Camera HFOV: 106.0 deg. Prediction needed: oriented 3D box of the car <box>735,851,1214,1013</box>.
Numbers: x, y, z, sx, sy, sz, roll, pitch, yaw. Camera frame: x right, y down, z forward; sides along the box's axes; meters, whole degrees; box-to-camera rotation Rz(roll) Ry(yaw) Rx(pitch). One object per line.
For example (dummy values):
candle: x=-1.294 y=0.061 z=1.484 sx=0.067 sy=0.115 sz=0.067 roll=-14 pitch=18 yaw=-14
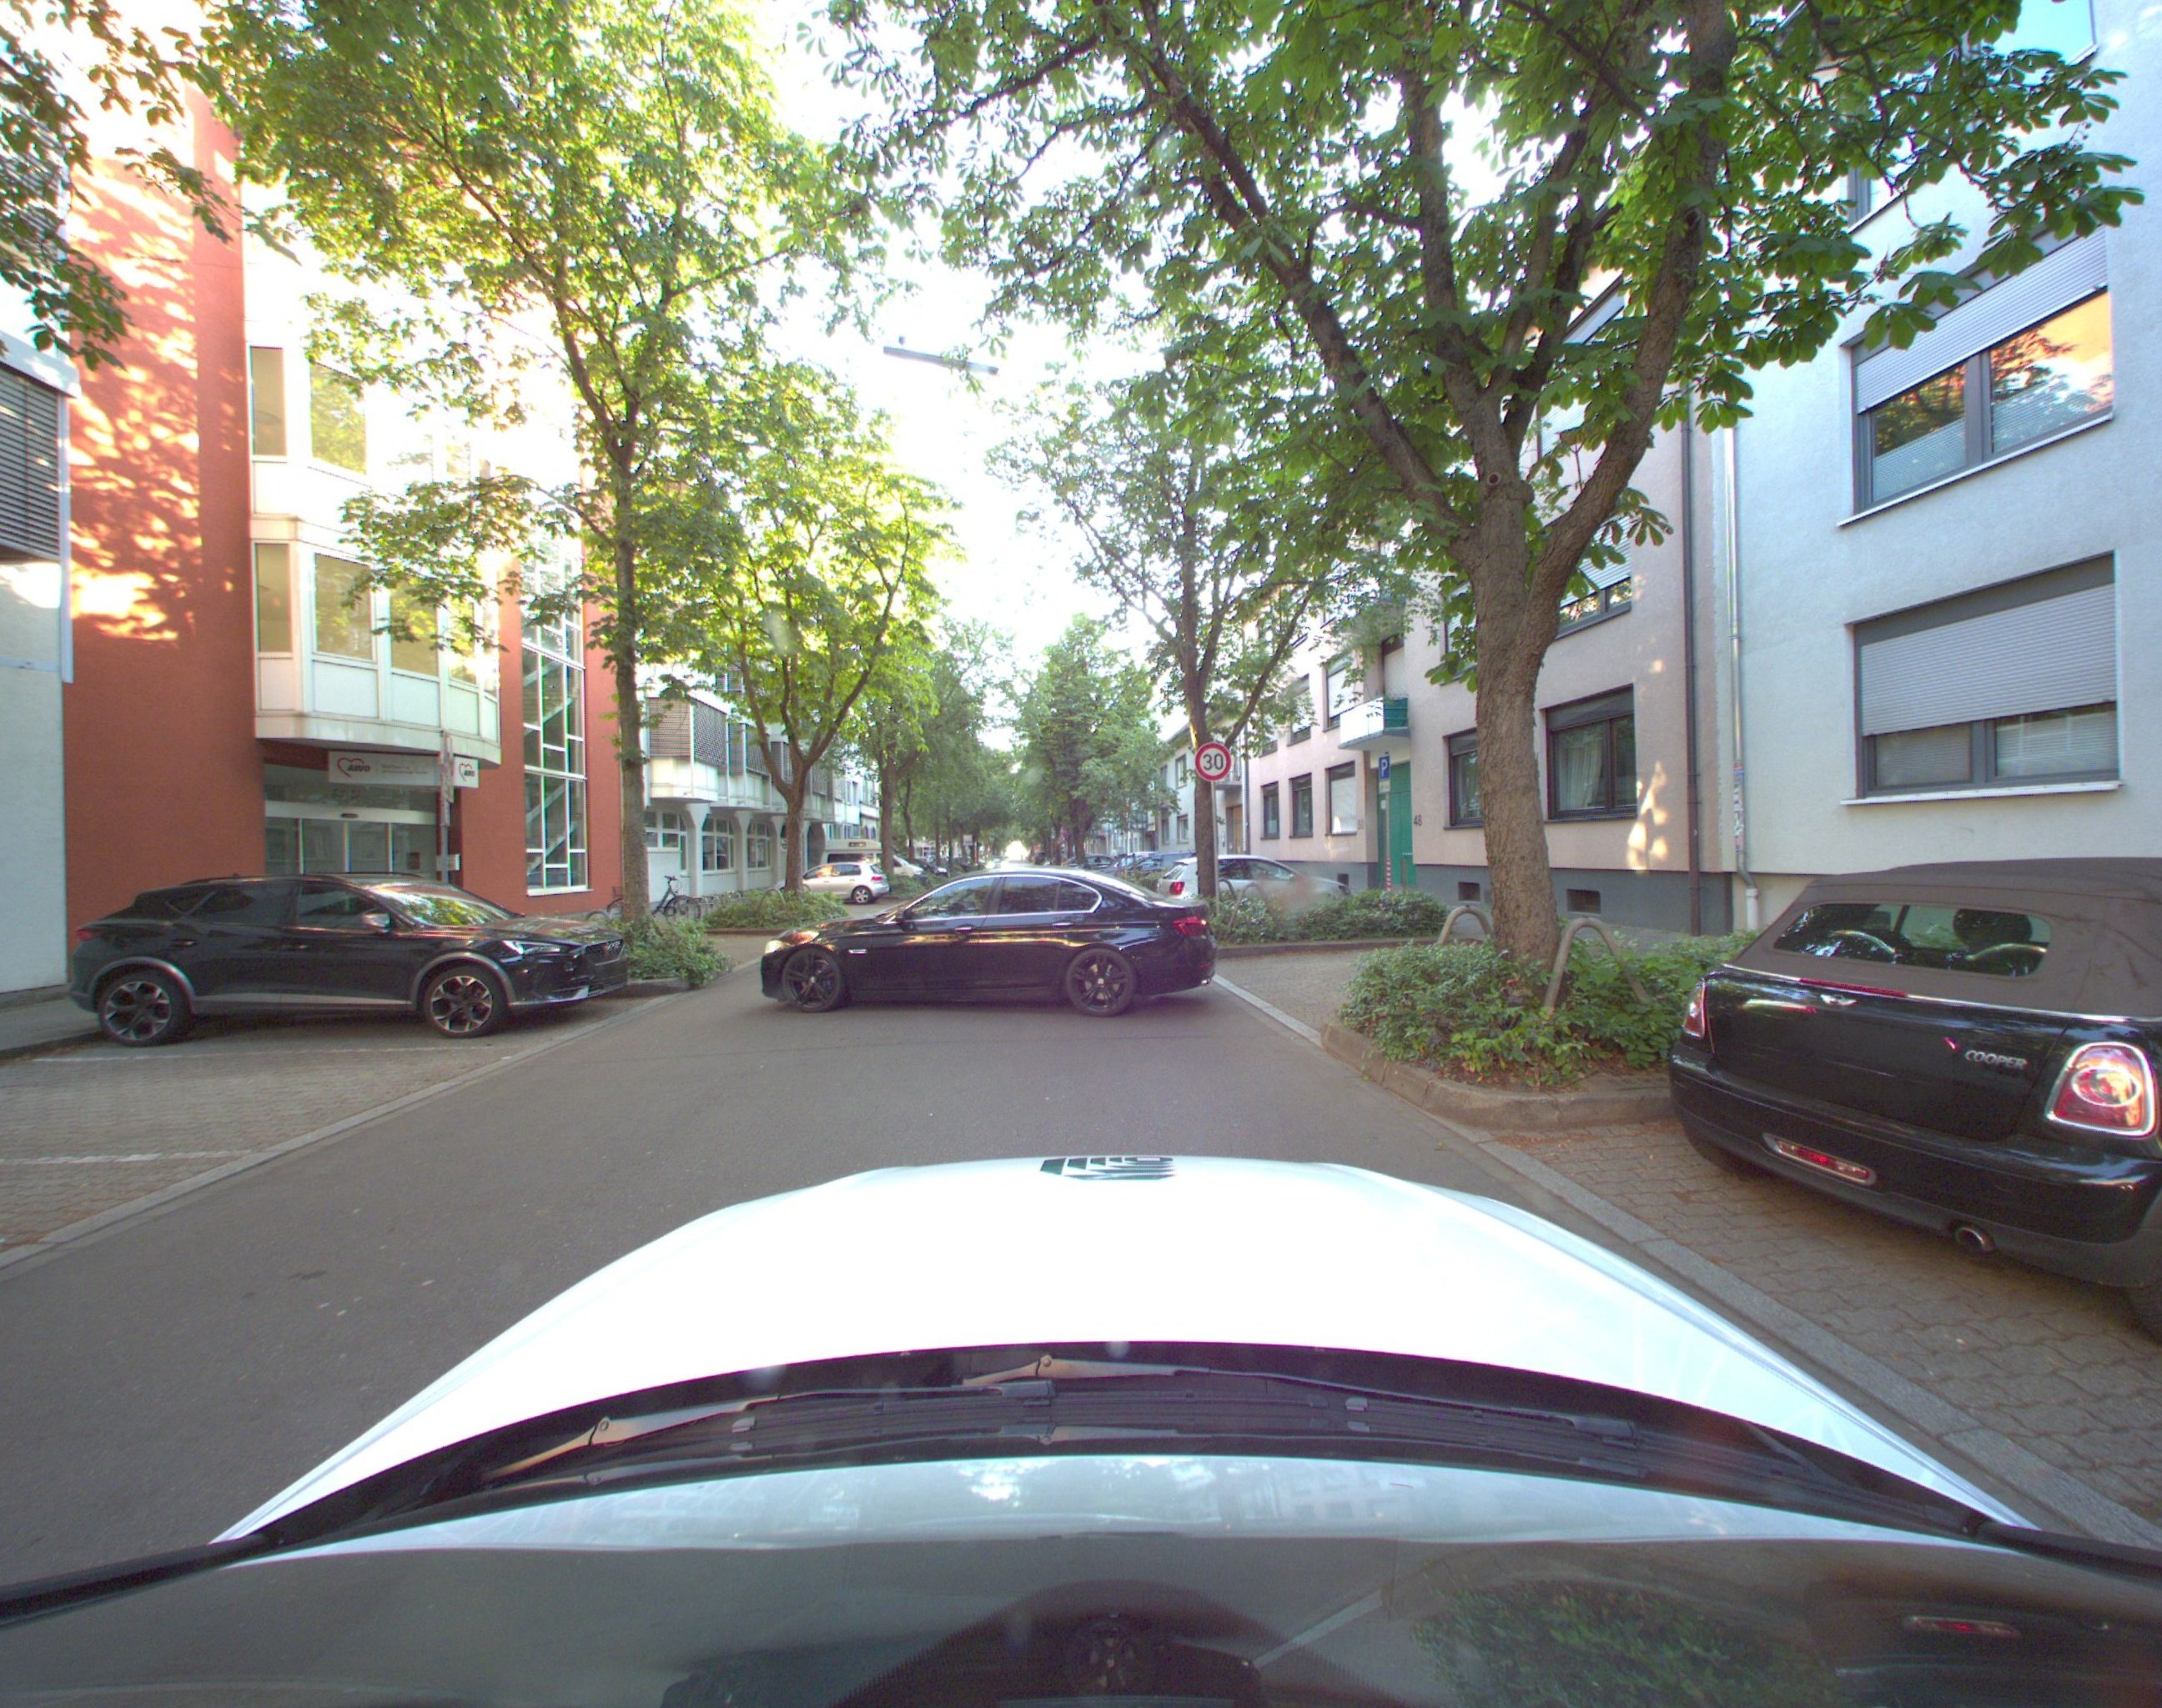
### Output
car: x=-1.000 y=0.771 z=8.748 sx=4.716 sy=1.480 sz=1.805 roll=-2 pitch=0 yaw=10

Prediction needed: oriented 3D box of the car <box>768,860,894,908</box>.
car: x=-8.851 y=1.044 z=29.084 sx=3.960 sy=1.517 sz=1.783 roll=-2 pitch=0 yaw=-4

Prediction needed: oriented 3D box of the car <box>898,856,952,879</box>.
car: x=-12.404 y=1.067 z=64.967 sx=3.959 sy=1.619 sz=1.783 roll=-2 pitch=0 yaw=-4

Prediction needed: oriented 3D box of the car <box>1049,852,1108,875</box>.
car: x=-0.180 y=0.652 z=56.988 sx=3.963 sy=1.527 sz=1.781 roll=-2 pitch=0 yaw=-6

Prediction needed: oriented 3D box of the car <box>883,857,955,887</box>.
car: x=-9.599 y=1.041 z=48.421 sx=3.960 sy=1.619 sz=1.783 roll=-2 pitch=0 yaw=-4

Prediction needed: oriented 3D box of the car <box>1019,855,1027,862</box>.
car: x=-14.195 y=1.137 z=198.984 sx=1.819 sy=1.530 sz=3.995 roll=-2 pitch=0 yaw=-4

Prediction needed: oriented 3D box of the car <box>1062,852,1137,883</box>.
car: x=1.013 y=0.735 z=45.085 sx=3.962 sy=1.527 sz=1.782 roll=-2 pitch=0 yaw=-5

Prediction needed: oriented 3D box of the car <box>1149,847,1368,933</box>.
car: x=3.430 y=0.667 z=16.119 sx=3.904 sy=1.476 sz=1.661 roll=-2 pitch=0 yaw=-7

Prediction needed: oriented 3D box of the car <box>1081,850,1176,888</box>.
car: x=2.072 y=0.659 z=36.243 sx=3.962 sy=1.527 sz=1.782 roll=-2 pitch=0 yaw=-5

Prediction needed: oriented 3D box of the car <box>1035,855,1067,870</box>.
car: x=-3.734 y=1.050 z=101.054 sx=3.959 sy=1.684 sz=1.783 roll=-2 pitch=0 yaw=-4

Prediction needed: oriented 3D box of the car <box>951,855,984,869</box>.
car: x=-14.302 y=1.012 z=102.936 sx=3.959 sy=1.619 sz=1.783 roll=-2 pitch=0 yaw=-4

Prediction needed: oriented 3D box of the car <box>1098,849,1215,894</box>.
car: x=2.725 y=0.622 z=29.753 sx=3.963 sy=1.476 sz=1.781 roll=-2 pitch=0 yaw=-7

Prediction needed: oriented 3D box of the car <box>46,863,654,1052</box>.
car: x=-7.025 y=0.927 z=8.273 sx=4.347 sy=1.517 sz=1.782 roll=-2 pitch=0 yaw=-5

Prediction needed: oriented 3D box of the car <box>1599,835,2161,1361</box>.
car: x=4.345 y=0.625 z=3.270 sx=3.608 sy=1.363 sz=1.660 roll=-2 pitch=0 yaw=-8

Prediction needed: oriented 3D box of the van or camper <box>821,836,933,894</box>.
van or camper: x=-9.297 y=0.482 z=37.418 sx=4.656 sy=2.478 sz=1.997 roll=-2 pitch=0 yaw=-5

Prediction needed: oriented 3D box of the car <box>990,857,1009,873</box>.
car: x=-8.382 y=1.074 z=83.718 sx=1.775 sy=1.562 sz=4.162 roll=-2 pitch=0 yaw=-4

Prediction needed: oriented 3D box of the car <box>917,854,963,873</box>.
car: x=-13.229 y=0.863 z=76.628 sx=3.959 sy=1.619 sz=1.783 roll=-2 pitch=0 yaw=-4

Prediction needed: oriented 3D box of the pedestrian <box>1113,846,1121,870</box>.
pedestrian: x=3.061 y=0.360 z=68.918 sx=0.587 sy=2.013 sz=0.669 roll=-1 pitch=0 yaw=-3
